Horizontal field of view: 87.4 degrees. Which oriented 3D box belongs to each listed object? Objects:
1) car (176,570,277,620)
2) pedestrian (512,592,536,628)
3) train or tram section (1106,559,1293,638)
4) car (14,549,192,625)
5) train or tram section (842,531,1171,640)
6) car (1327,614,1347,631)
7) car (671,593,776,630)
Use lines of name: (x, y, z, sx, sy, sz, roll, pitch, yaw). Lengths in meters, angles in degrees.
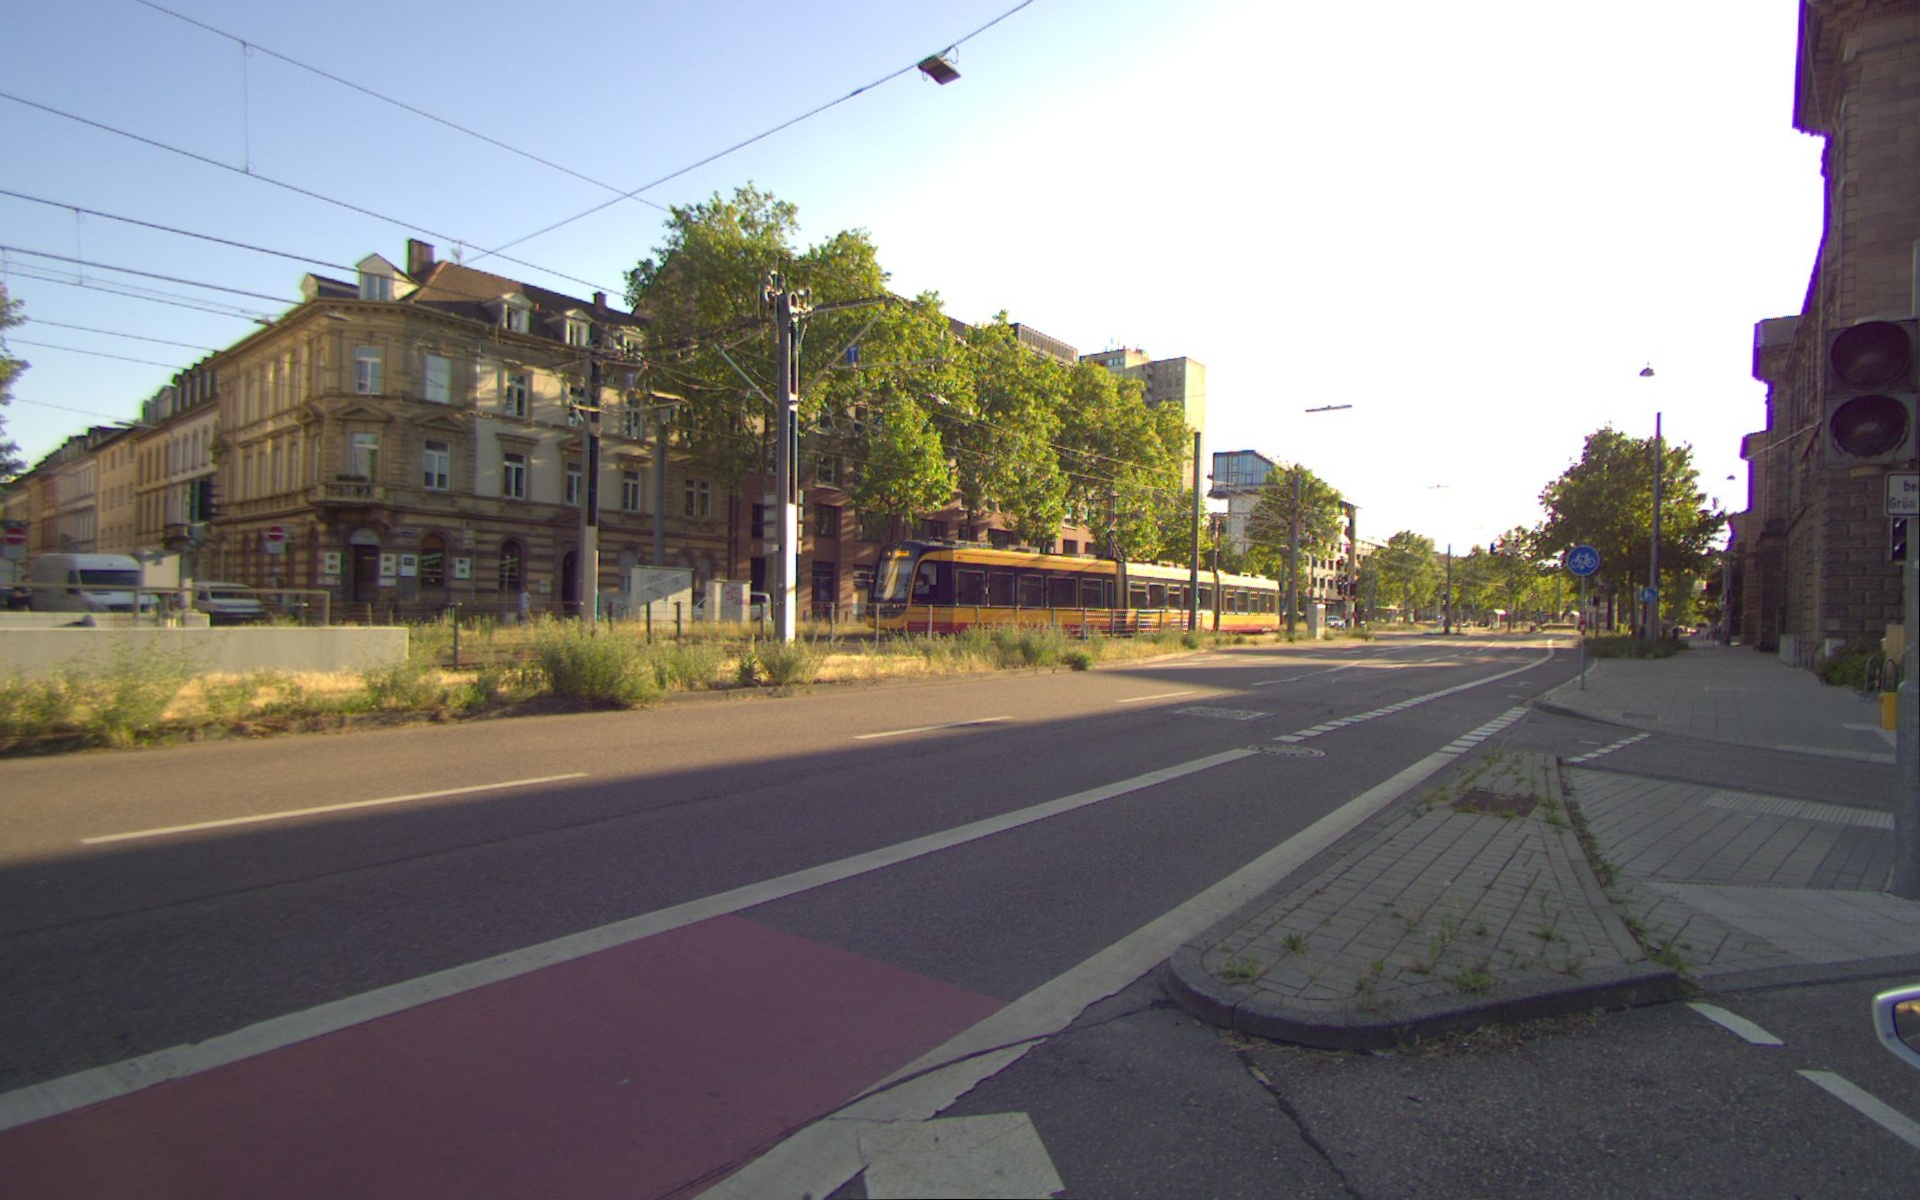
car: (-29.866, -0.205, 40.846, 4.621, 1.912, 1.979, 1, -1, 36)
pedestrian: (-19.514, 0.453, 44.994, 0.694, 1.583, 0.689, 2, 0, 34)
train or tram section: (13.801, 0.153, 55.023, 3.070, 3.606, 19.873, 1, -1, 34)
car: (-28.497, -0.414, 33.294, 7.165, 2.296, 2.464, 1, -1, 32)
train or tram section: (2.793, -0.281, 40.754, 3.077, 3.606, 17.387, 1, -1, 41)
car: (37.055, 2.193, 98.751, 1.580, 1.549, 3.554, 1, -1, 25)
car: (-10.932, 0.544, 46.703, 1.738, 1.606, 4.717, 1, -1, 37)
